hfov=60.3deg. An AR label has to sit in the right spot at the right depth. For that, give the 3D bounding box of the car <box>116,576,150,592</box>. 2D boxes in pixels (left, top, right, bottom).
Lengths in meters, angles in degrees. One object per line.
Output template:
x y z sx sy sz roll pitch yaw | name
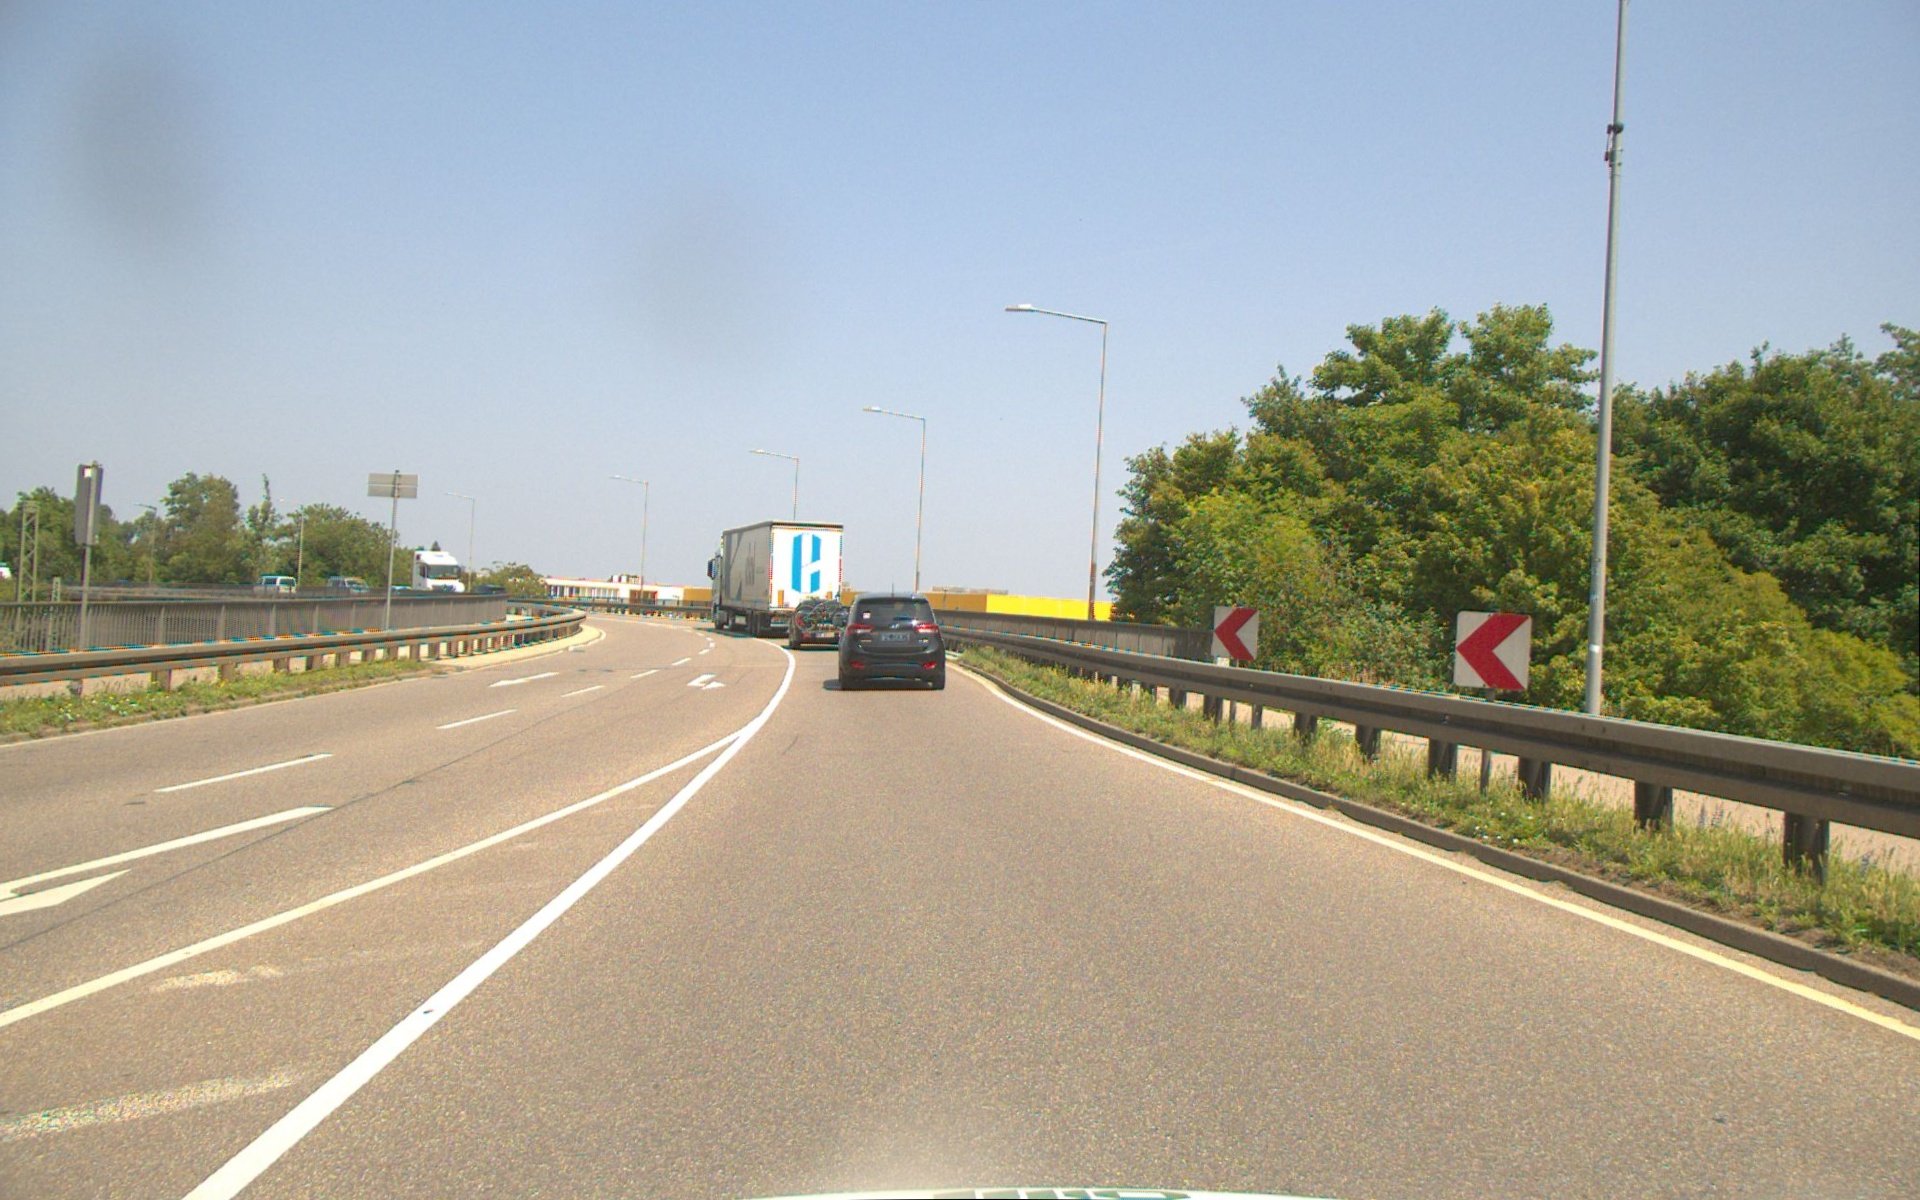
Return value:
-78.260 -1.486 156.440 3.547 1.410 1.556 2 0 39 | car

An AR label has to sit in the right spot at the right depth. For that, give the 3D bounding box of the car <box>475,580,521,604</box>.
-32.467 -0.551 116.148 1.828 1.534 3.584 2 0 -38 | car

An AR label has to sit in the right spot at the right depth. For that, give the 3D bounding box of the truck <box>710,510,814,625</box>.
-8.452 -1.335 69.878 3.512 4.518 6.492 2 0 -14 | truck

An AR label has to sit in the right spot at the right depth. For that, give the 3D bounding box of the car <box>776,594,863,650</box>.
-4.044 0.596 47.108 1.976 1.454 3.766 2 0 -12 | car

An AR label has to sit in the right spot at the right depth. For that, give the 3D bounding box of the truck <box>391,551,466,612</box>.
-37.172 -1.347 115.562 2.690 4.061 6.094 2 0 -41 | truck

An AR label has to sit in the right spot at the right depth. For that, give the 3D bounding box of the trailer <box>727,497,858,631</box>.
-6.523 -1.267 62.321 3.507 4.460 11.405 2 0 -12 | trailer

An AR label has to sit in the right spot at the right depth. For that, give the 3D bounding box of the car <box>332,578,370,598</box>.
-46.247 -0.940 125.491 1.550 1.410 3.562 2 0 -40 | car

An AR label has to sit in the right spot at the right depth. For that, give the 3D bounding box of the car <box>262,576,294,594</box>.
-58.759 -1.302 142.476 1.550 1.410 3.562 2 0 -41 | car

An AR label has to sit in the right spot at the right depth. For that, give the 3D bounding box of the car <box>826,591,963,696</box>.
-1.191 0.694 28.382 1.886 1.601 3.884 2 0 -9 | car
